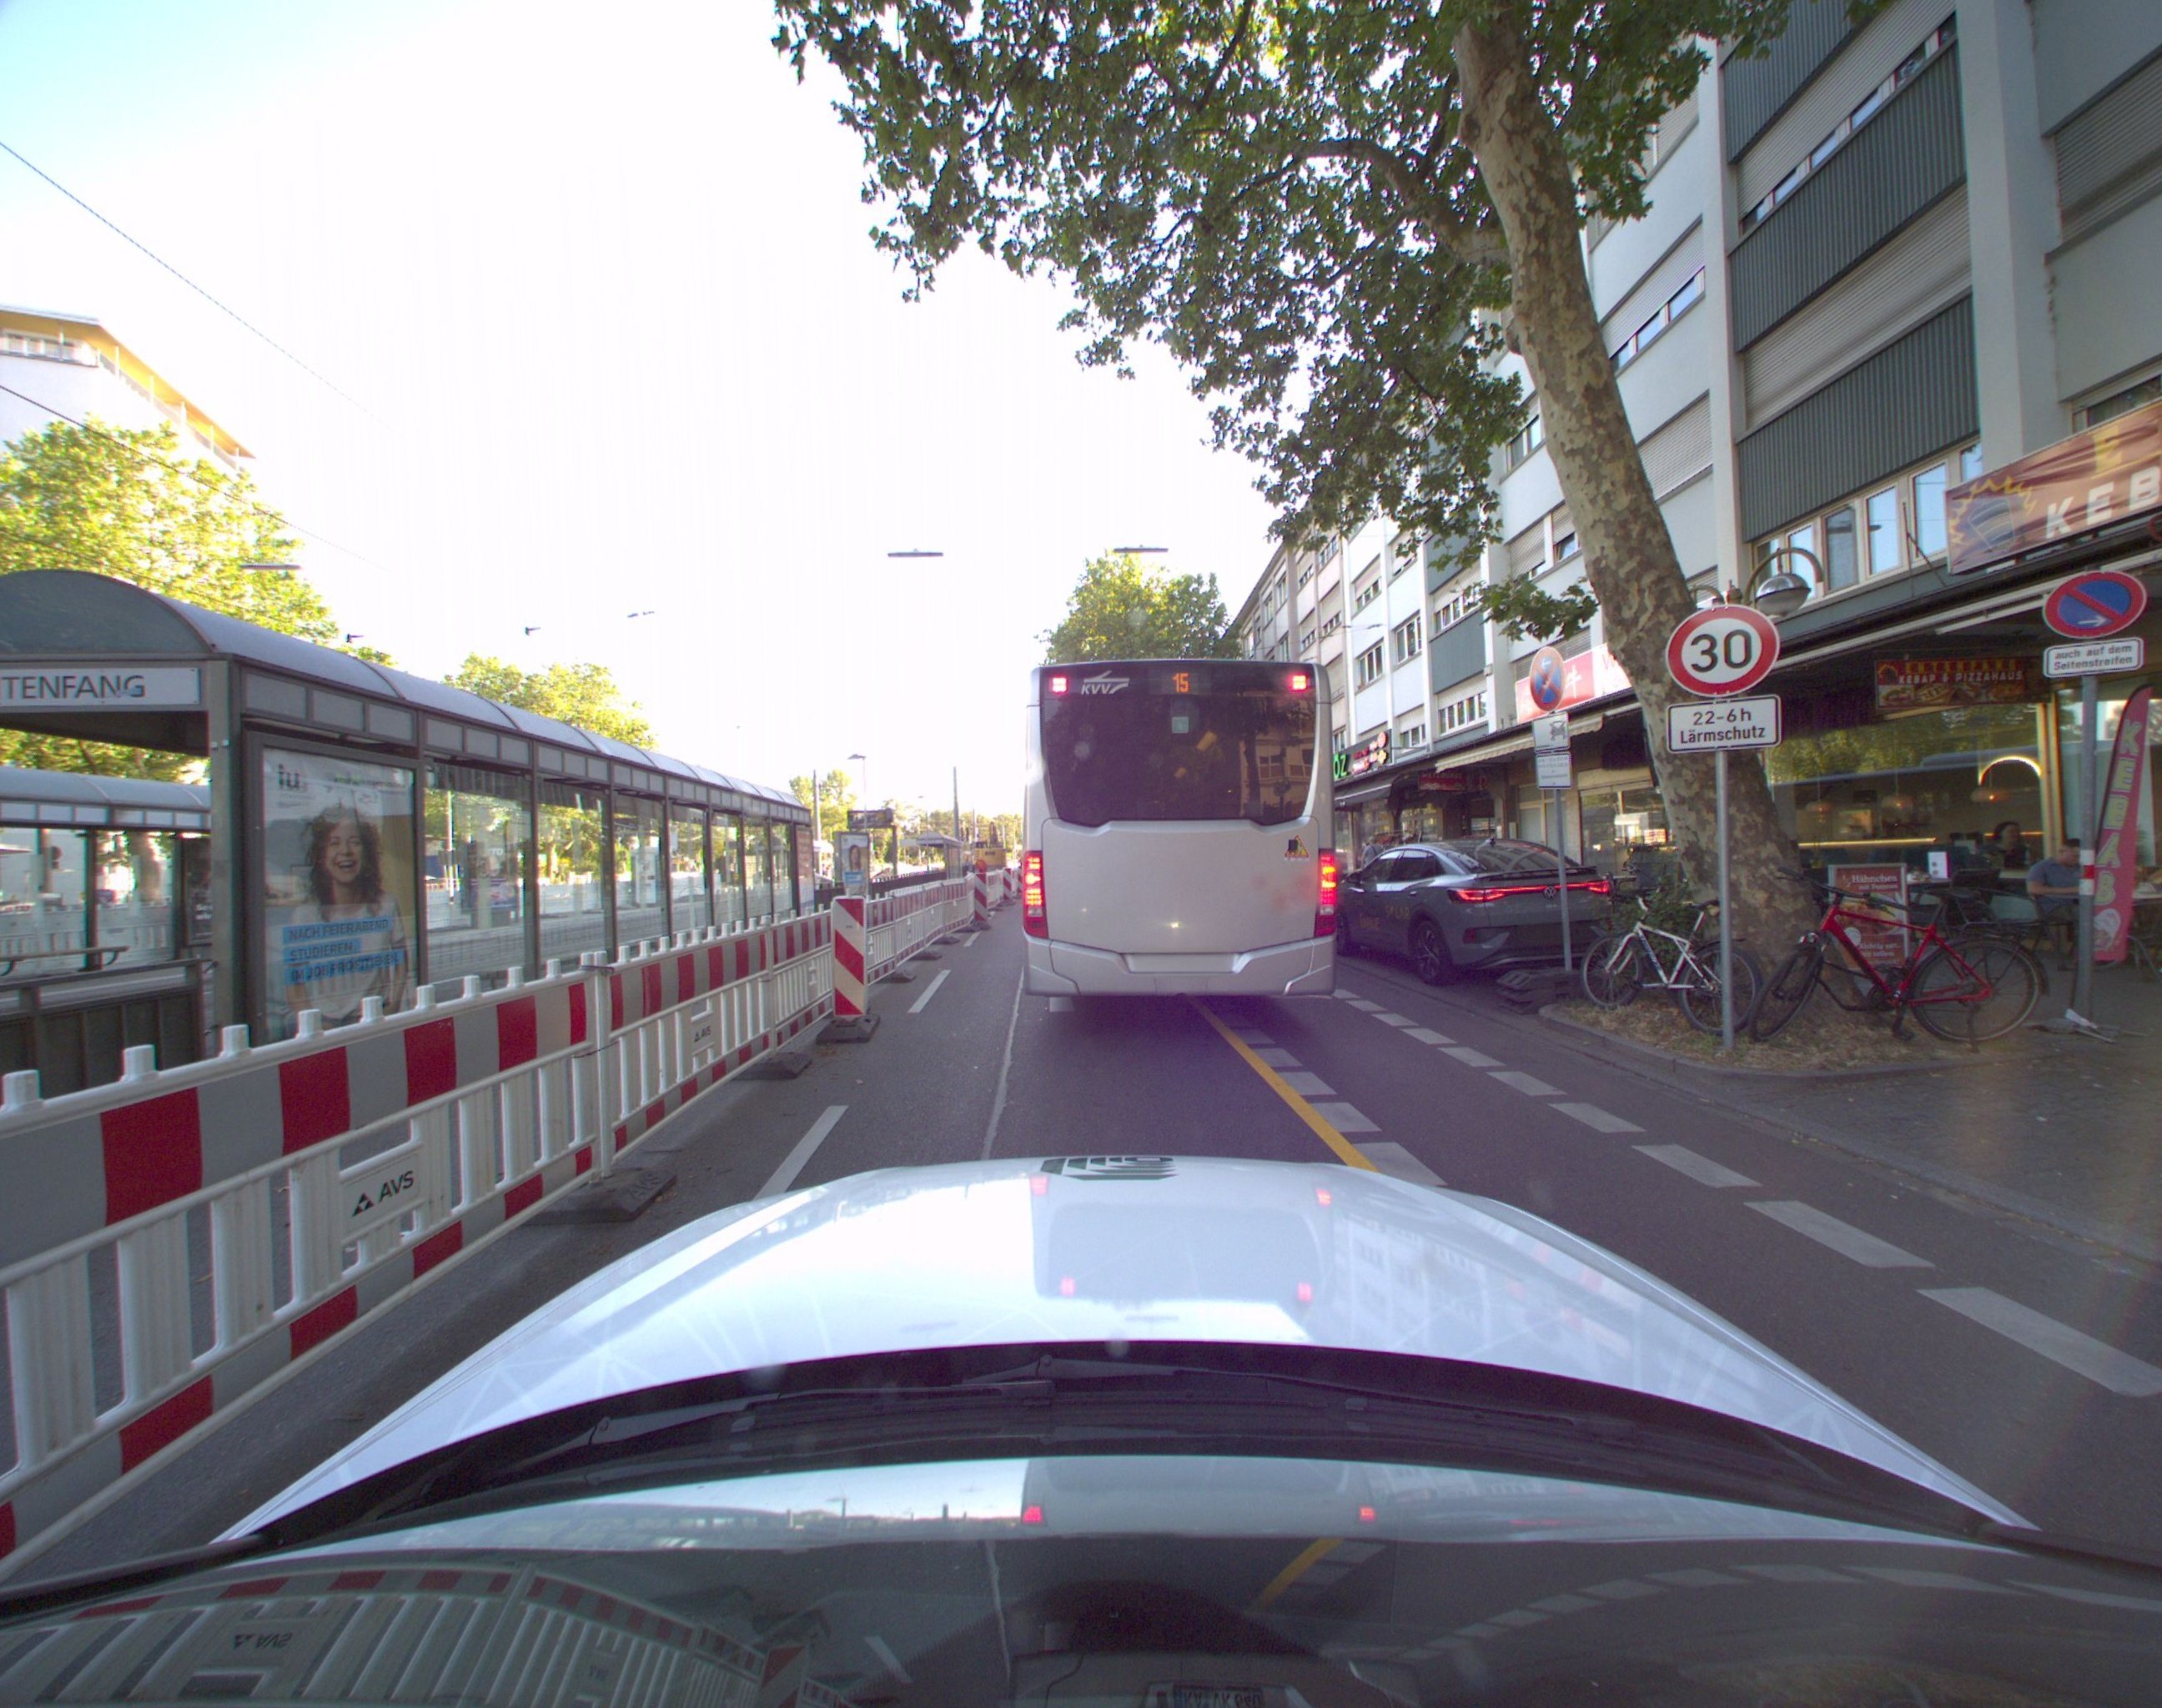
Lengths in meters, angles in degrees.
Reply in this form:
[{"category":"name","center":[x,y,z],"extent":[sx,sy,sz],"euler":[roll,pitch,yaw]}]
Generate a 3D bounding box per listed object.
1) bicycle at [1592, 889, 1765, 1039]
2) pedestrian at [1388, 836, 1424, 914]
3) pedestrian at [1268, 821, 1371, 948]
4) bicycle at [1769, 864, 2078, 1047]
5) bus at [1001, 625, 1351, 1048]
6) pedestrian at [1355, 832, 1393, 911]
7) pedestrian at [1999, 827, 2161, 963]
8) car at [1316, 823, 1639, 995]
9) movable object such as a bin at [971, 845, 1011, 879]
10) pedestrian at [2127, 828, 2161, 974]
[{"category":"bicycle","center":[4.479,0.784,6.181],"extent":[0.294,0.927,1.127],"euler":[-6,2,-8]},{"category":"pedestrian","center":[8.632,0.555,21.633],"extent":[0.610,2.014,0.696],"euler":[-2,-1,0]},{"category":"pedestrian","center":[3.769,0.460,12.927],"extent":[1.123,1.890,1.017],"euler":[-2,-1,-22]},{"category":"bicycle","center":[5.492,0.673,5.362],"extent":[1.450,1.066,0.297],"euler":[-6,2,13]},{"category":"bus","center":[0.916,-0.125,11.354],"extent":[2.598,3.170,10.296],"euler":[-1,0,2]},{"category":"pedestrian","center":[7.743,0.459,21.565],"extent":[0.688,2.014,0.696],"euler":[-2,-1,-1]},{"category":"pedestrian","center":[9.622,0.384,7.839],"extent":[0.673,1.203,0.706],"euler":[-5,-1,11]},{"category":"car","center":[4.602,0.560,10.305],"extent":[1.736,1.597,4.294],"euler":[-4,0,-3]},{"category":"movable object such as a bin","center":[-7.048,0.601,63.999],"extent":[2.800,2.462,3.995],"euler":[-2,0,-3]},{"category":"pedestrian","center":[9.559,0.388,6.803],"extent":[0.612,1.243,0.714],"euler":[-5,-1,11]}]
